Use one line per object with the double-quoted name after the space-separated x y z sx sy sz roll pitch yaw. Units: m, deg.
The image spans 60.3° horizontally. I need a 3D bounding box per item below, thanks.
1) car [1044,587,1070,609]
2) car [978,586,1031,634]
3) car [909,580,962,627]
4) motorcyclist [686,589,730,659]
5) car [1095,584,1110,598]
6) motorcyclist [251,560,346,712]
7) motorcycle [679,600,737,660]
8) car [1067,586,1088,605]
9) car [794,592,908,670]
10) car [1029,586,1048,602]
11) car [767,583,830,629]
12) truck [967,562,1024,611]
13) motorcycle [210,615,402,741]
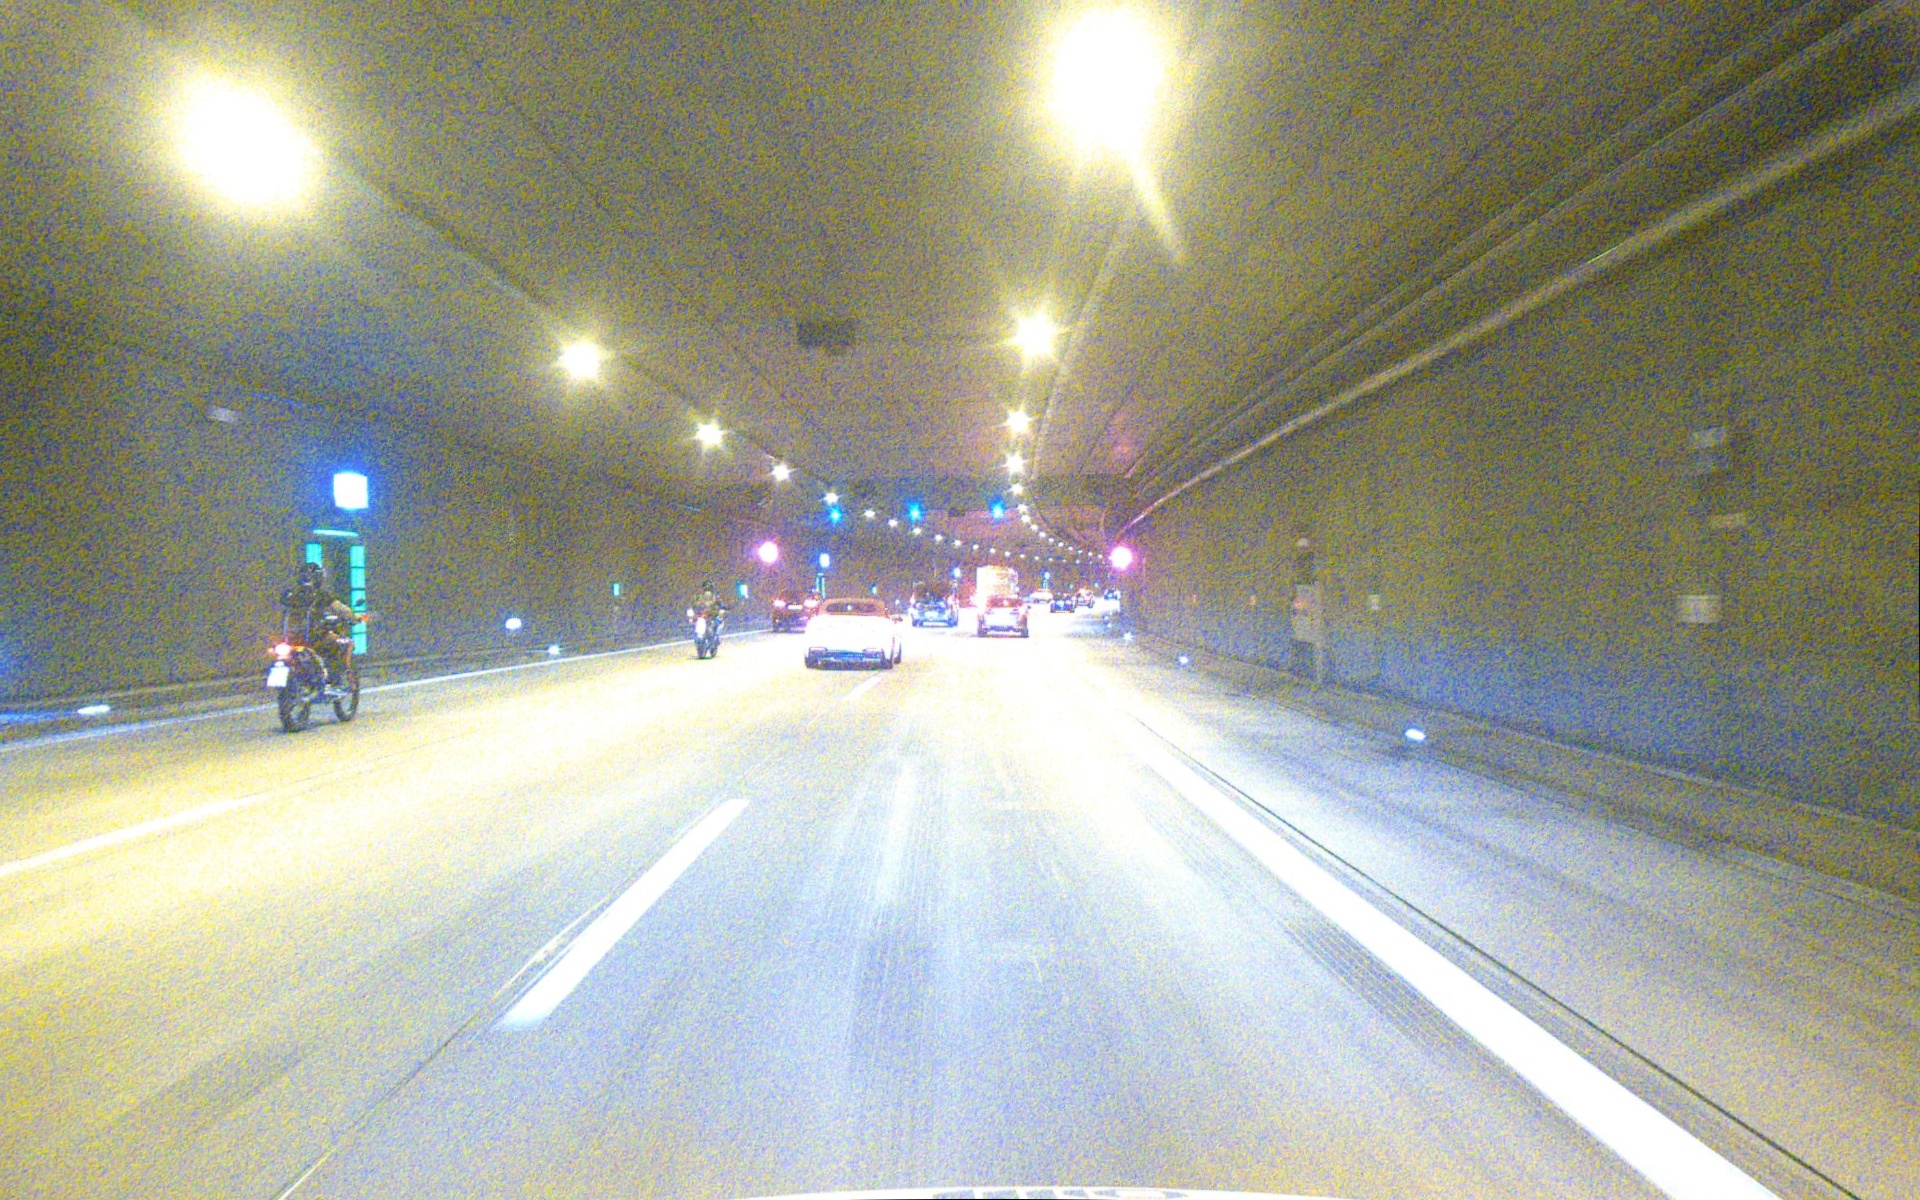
7.378 -0.130 126.126 1.806 1.595 4.001 -2 0 1 "car"
1.579 0.329 59.069 1.801 1.630 4.001 -1 0 1 "car"
-1.045 0.141 73.688 1.951 2.006 4.002 1 0 5 "car"
-5.568 0.528 36.638 0.822 1.503 0.822 1 1 1 "motorcyclist"
18.270 -1.166 211.733 1.794 1.720 4.003 -2 0 6 "car"
-6.792 0.357 17.011 0.614 1.515 0.890 0 0 -1 "motorcyclist"
-5.543 0.631 36.488 0.828 1.267 2.605 0 0 1 "motorcycle"
11.017 -0.420 154.709 1.819 1.695 4.002 -2 0 4 "car"
-2.197 0.594 34.377 1.952 1.509 4.001 0 0 2 "car"
8.668 -0.693 181.621 1.791 1.646 4.003 -2 0 6 "car"
-5.909 0.202 60.804 1.748 1.626 3.803 0 0 3 "car"
2.597 -1.053 117.849 3.017 3.167 10.038 -3 1 7 "truck"
-6.798 0.773 17.368 1.031 1.177 2.427 0 0 0 "motorcycle"
